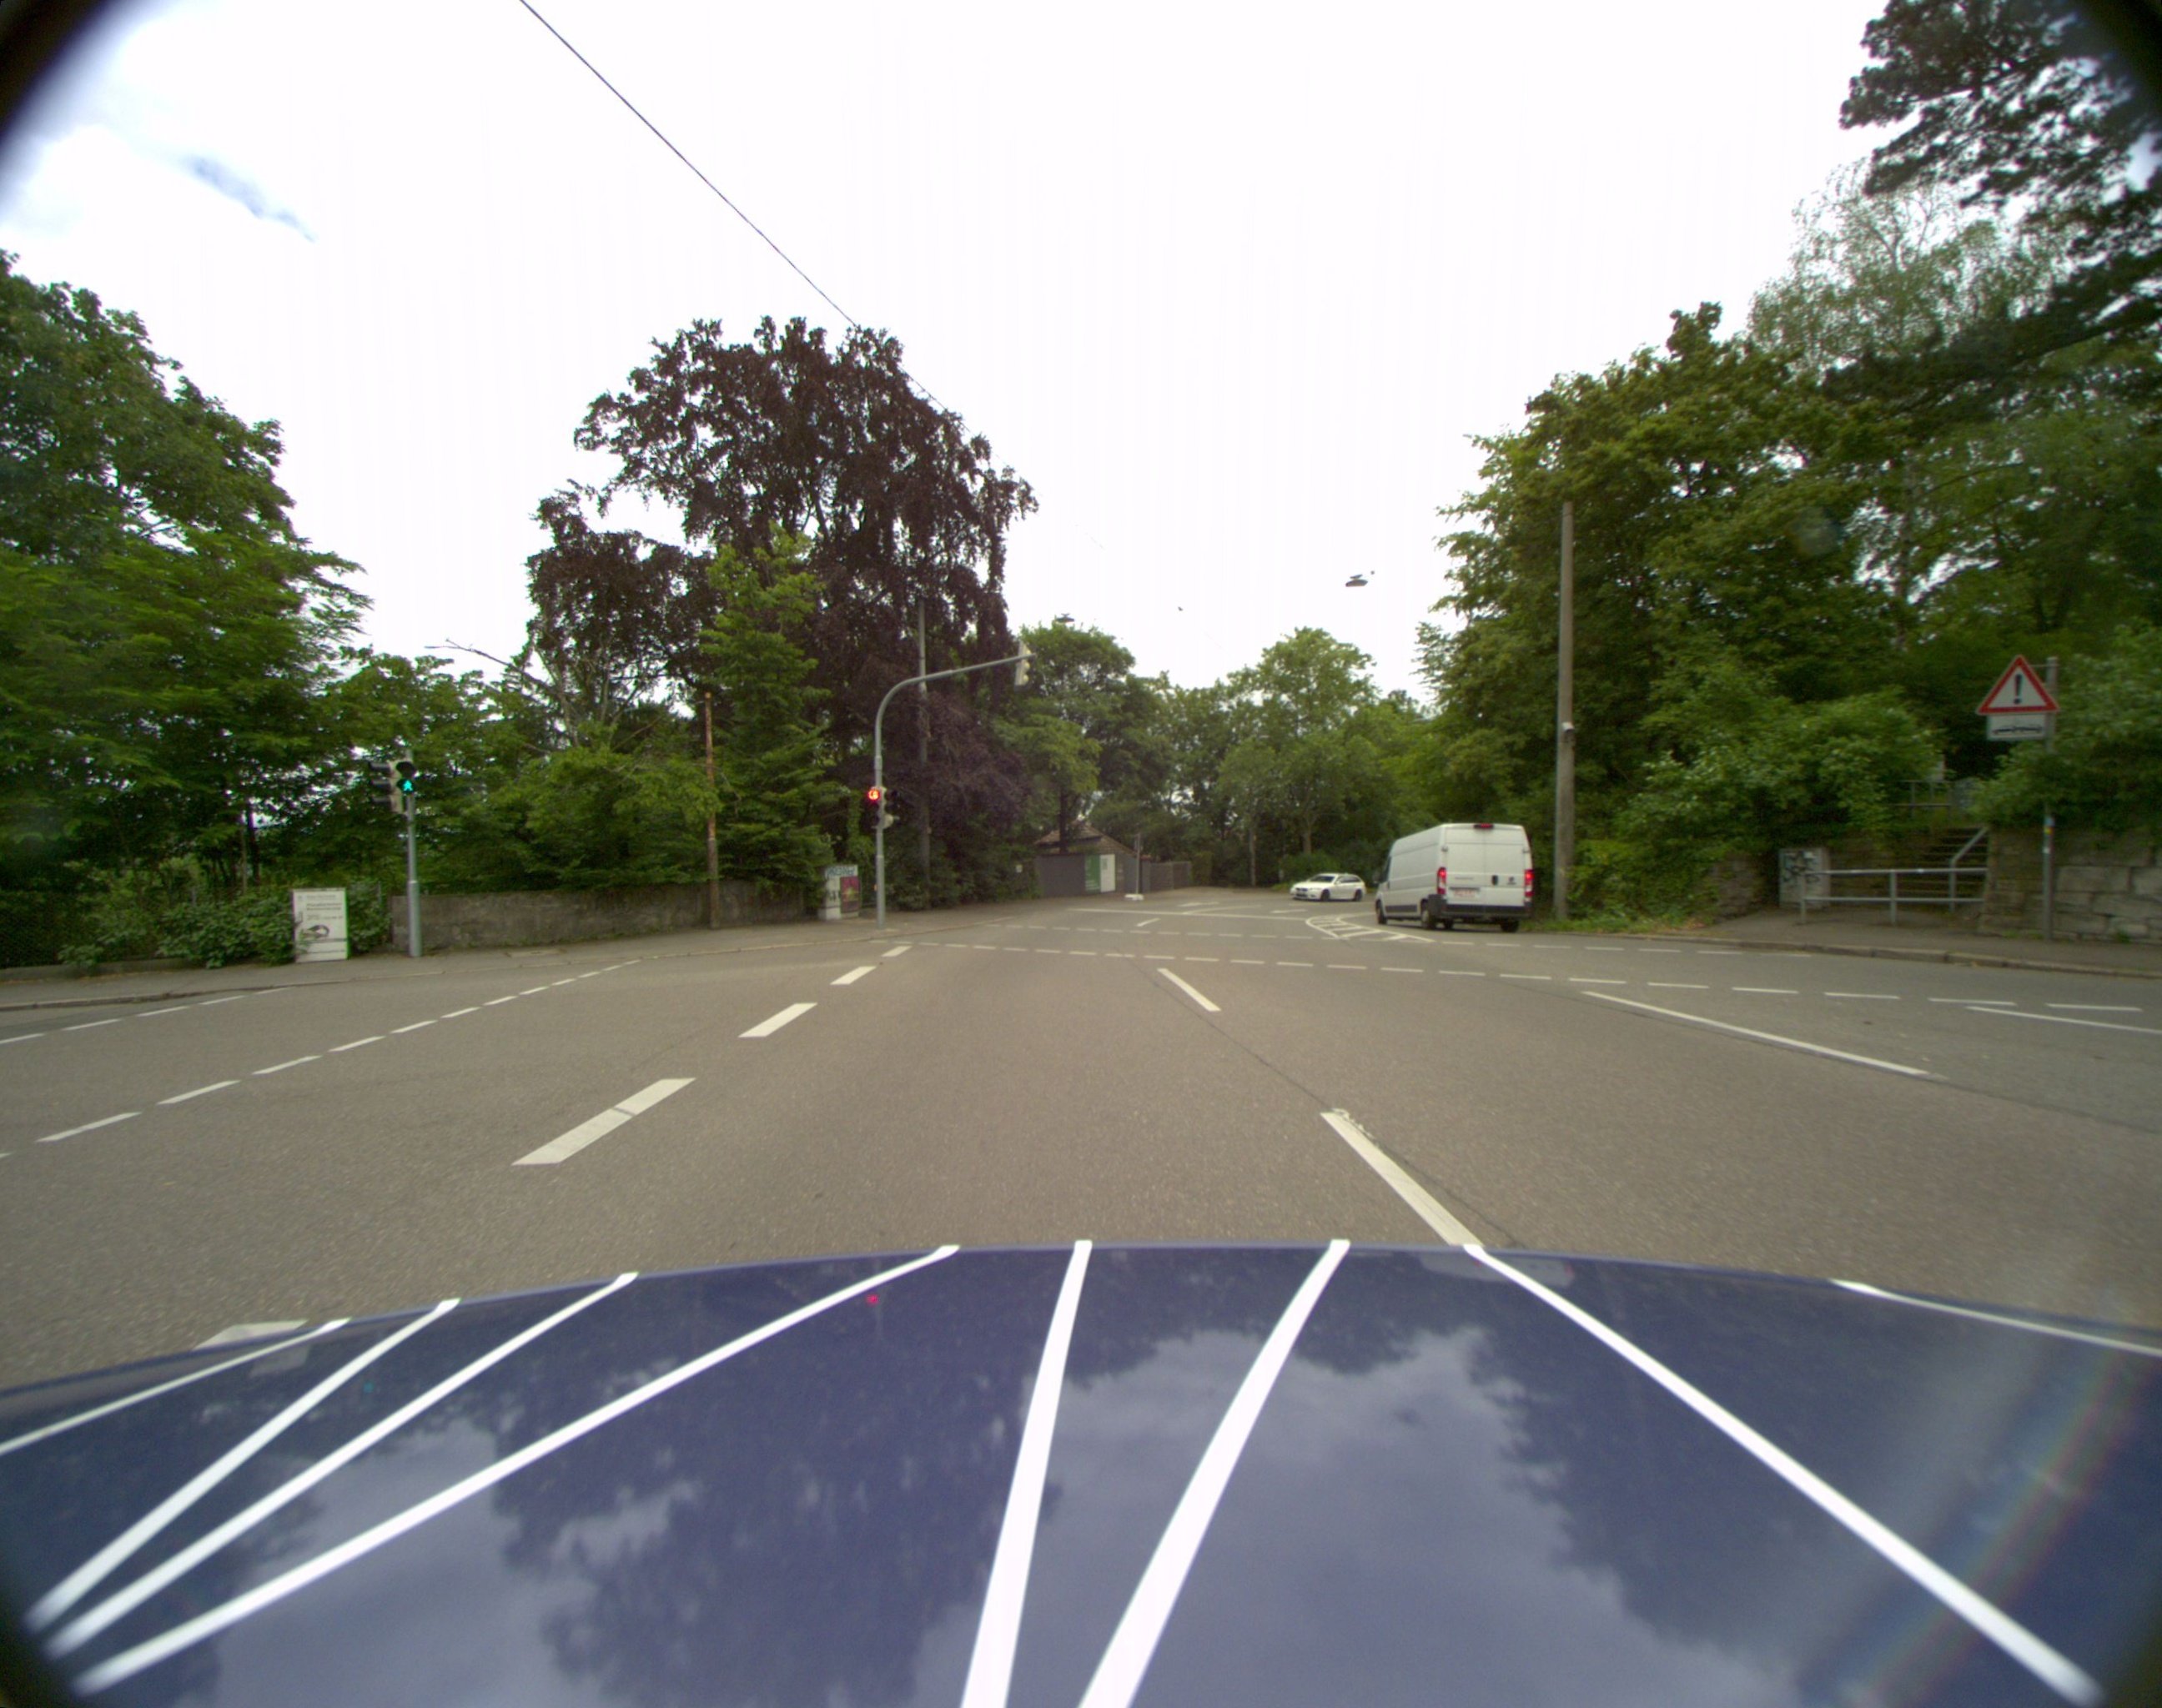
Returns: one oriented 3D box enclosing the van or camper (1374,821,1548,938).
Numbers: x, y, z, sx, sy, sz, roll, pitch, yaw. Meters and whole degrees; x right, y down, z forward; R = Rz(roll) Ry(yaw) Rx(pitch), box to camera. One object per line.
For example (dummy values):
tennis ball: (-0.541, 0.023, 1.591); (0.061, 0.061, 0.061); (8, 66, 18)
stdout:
van or camper: (9.341, 0.719, 19.319); (2.207, 2.530, 5.364); (1, -4, 6)

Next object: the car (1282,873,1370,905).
car: (13.034, 1.826, 40.258); (4.794, 1.463, 1.818); (2, 3, -35)
